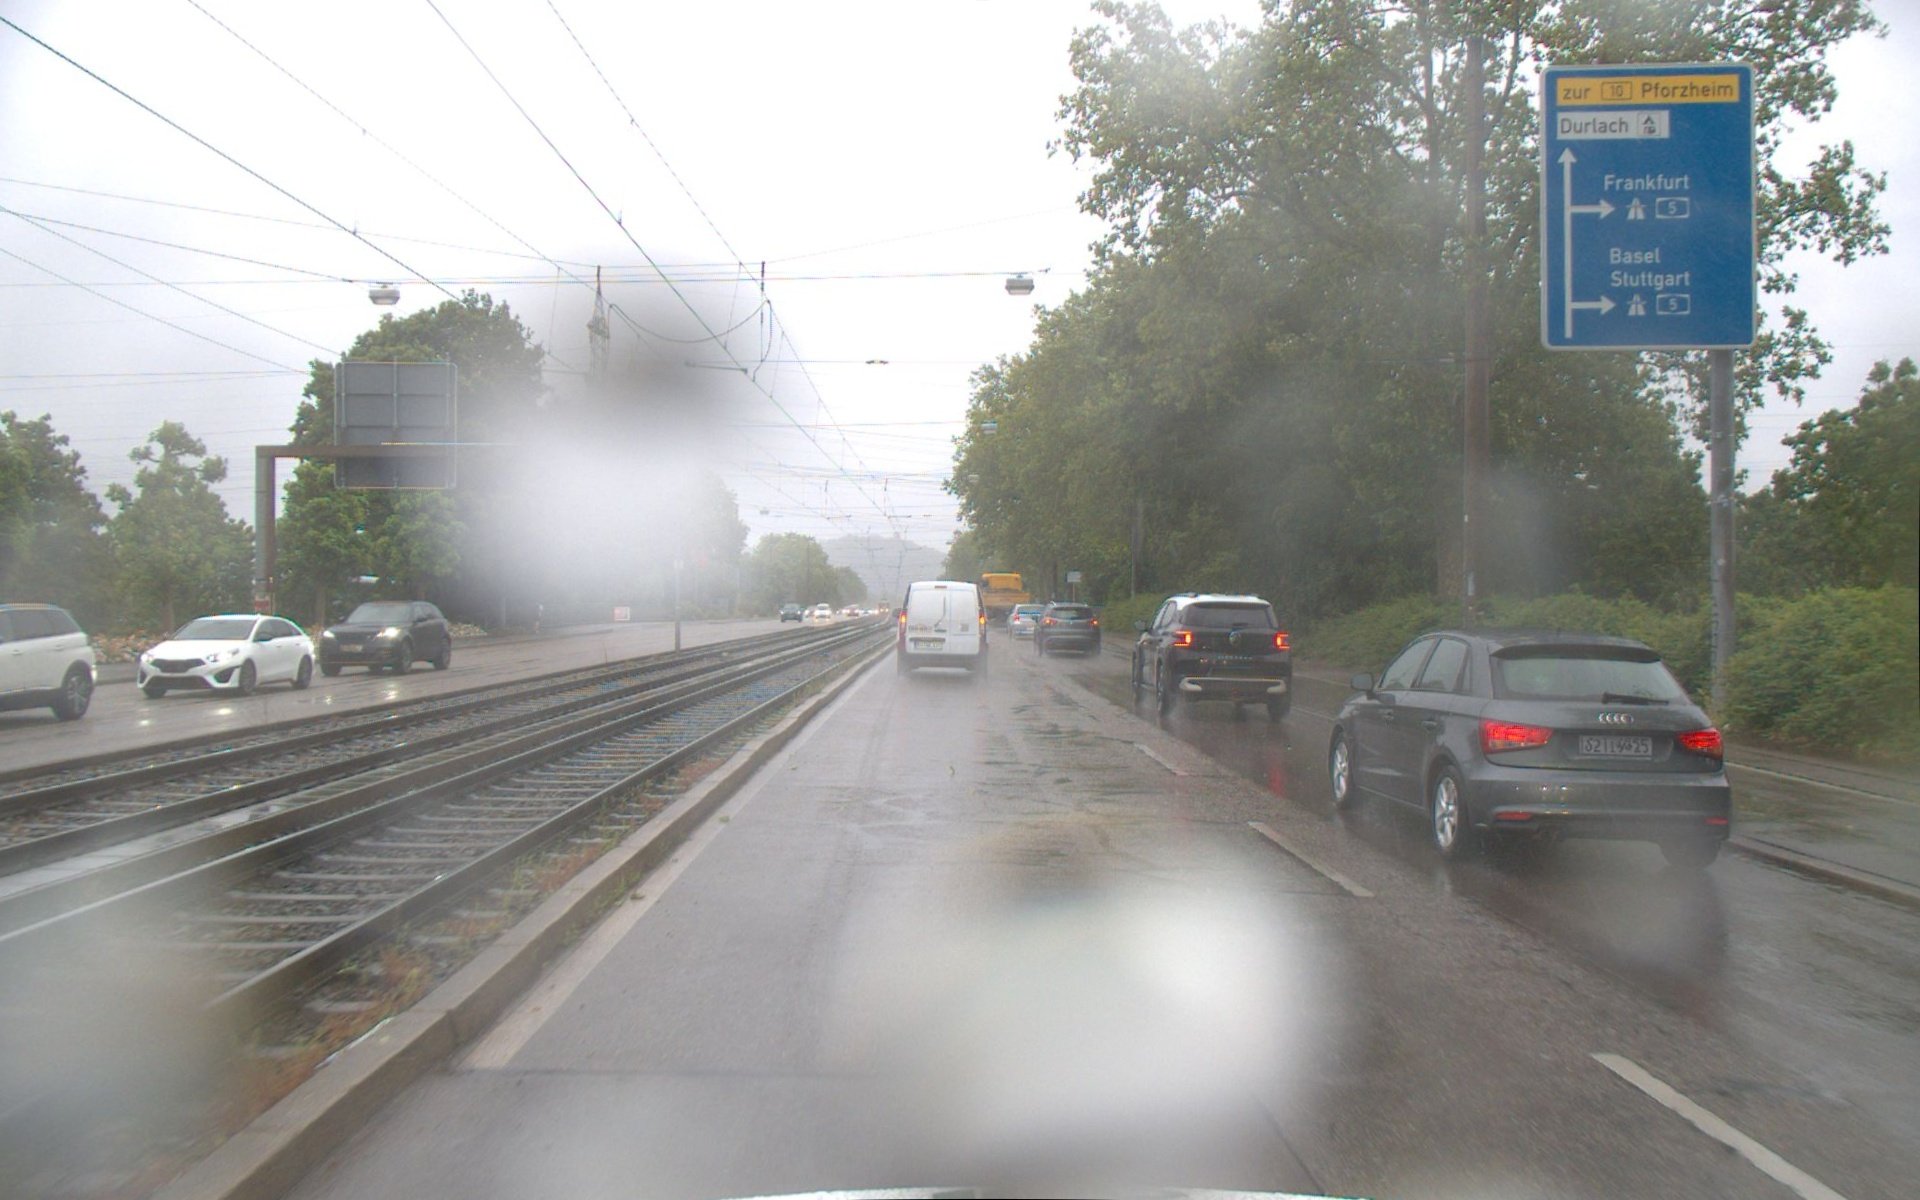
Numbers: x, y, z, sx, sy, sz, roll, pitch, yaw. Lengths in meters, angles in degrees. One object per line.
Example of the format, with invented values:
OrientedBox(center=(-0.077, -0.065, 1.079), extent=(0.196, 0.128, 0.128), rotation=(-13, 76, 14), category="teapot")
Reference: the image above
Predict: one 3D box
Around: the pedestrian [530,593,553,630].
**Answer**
OrientedBox(center=(-20.348, 0.539, 80.404), extent=(0.834, 1.790, 1.120), rotation=(-1, 0, -1), category="pedestrian")

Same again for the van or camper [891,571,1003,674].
OrientedBox(center=(-0.326, 0.382, 32.339), extent=(1.954, 1.815, 3.998), rotation=(2, 1, -3), category="van or camper")

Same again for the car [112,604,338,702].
OrientedBox(center=(-13.511, 0.917, 30.784), extent=(1.952, 1.611, 4.767), rotation=(-1, 0, 2), category="car")

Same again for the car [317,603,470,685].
OrientedBox(center=(-13.311, 0.987, 39.186), extent=(1.953, 1.751, 4.881), rotation=(-1, 0, 0), category="car")

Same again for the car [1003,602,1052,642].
OrientedBox(center=(2.681, 0.859, 66.230), extent=(1.781, 1.438, 3.778), rotation=(1, 1, 0), category="car")

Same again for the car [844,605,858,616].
OrientedBox(center=(-15.304, 1.496, 232.639), extent=(1.623, 1.512, 4.013), rotation=(0, 0, 1), category="car")

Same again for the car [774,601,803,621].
OrientedBox(center=(-14.644, 0.925, 141.683), extent=(1.952, 1.646, 4.254), rotation=(0, 0, 1), category="car")

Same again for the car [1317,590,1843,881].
OrientedBox(center=(3.903, 0.751, 11.236), extent=(1.928, 1.555, 3.989), rotation=(1, 1, -2), category="car")

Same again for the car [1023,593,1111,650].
OrientedBox(center=(2.943, 0.581, 46.380), extent=(1.783, 1.438, 3.773), rotation=(1, 1, -7), category="car")

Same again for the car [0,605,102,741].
OrientedBox(center=(-13.355, 0.951, 21.742), extent=(1.735, 1.712, 4.688), rotation=(2, 0, -1), category="car")

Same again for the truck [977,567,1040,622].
OrientedBox(center=(2.524, -0.298, 87.943), extent=(3.049, 2.821, 6.328), rotation=(1, 0, -1), category="truck")

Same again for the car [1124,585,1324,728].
OrientedBox(center=(3.604, 0.702, 23.466), extent=(1.861, 1.746, 4.723), rotation=(1, 1, -3), category="car")
